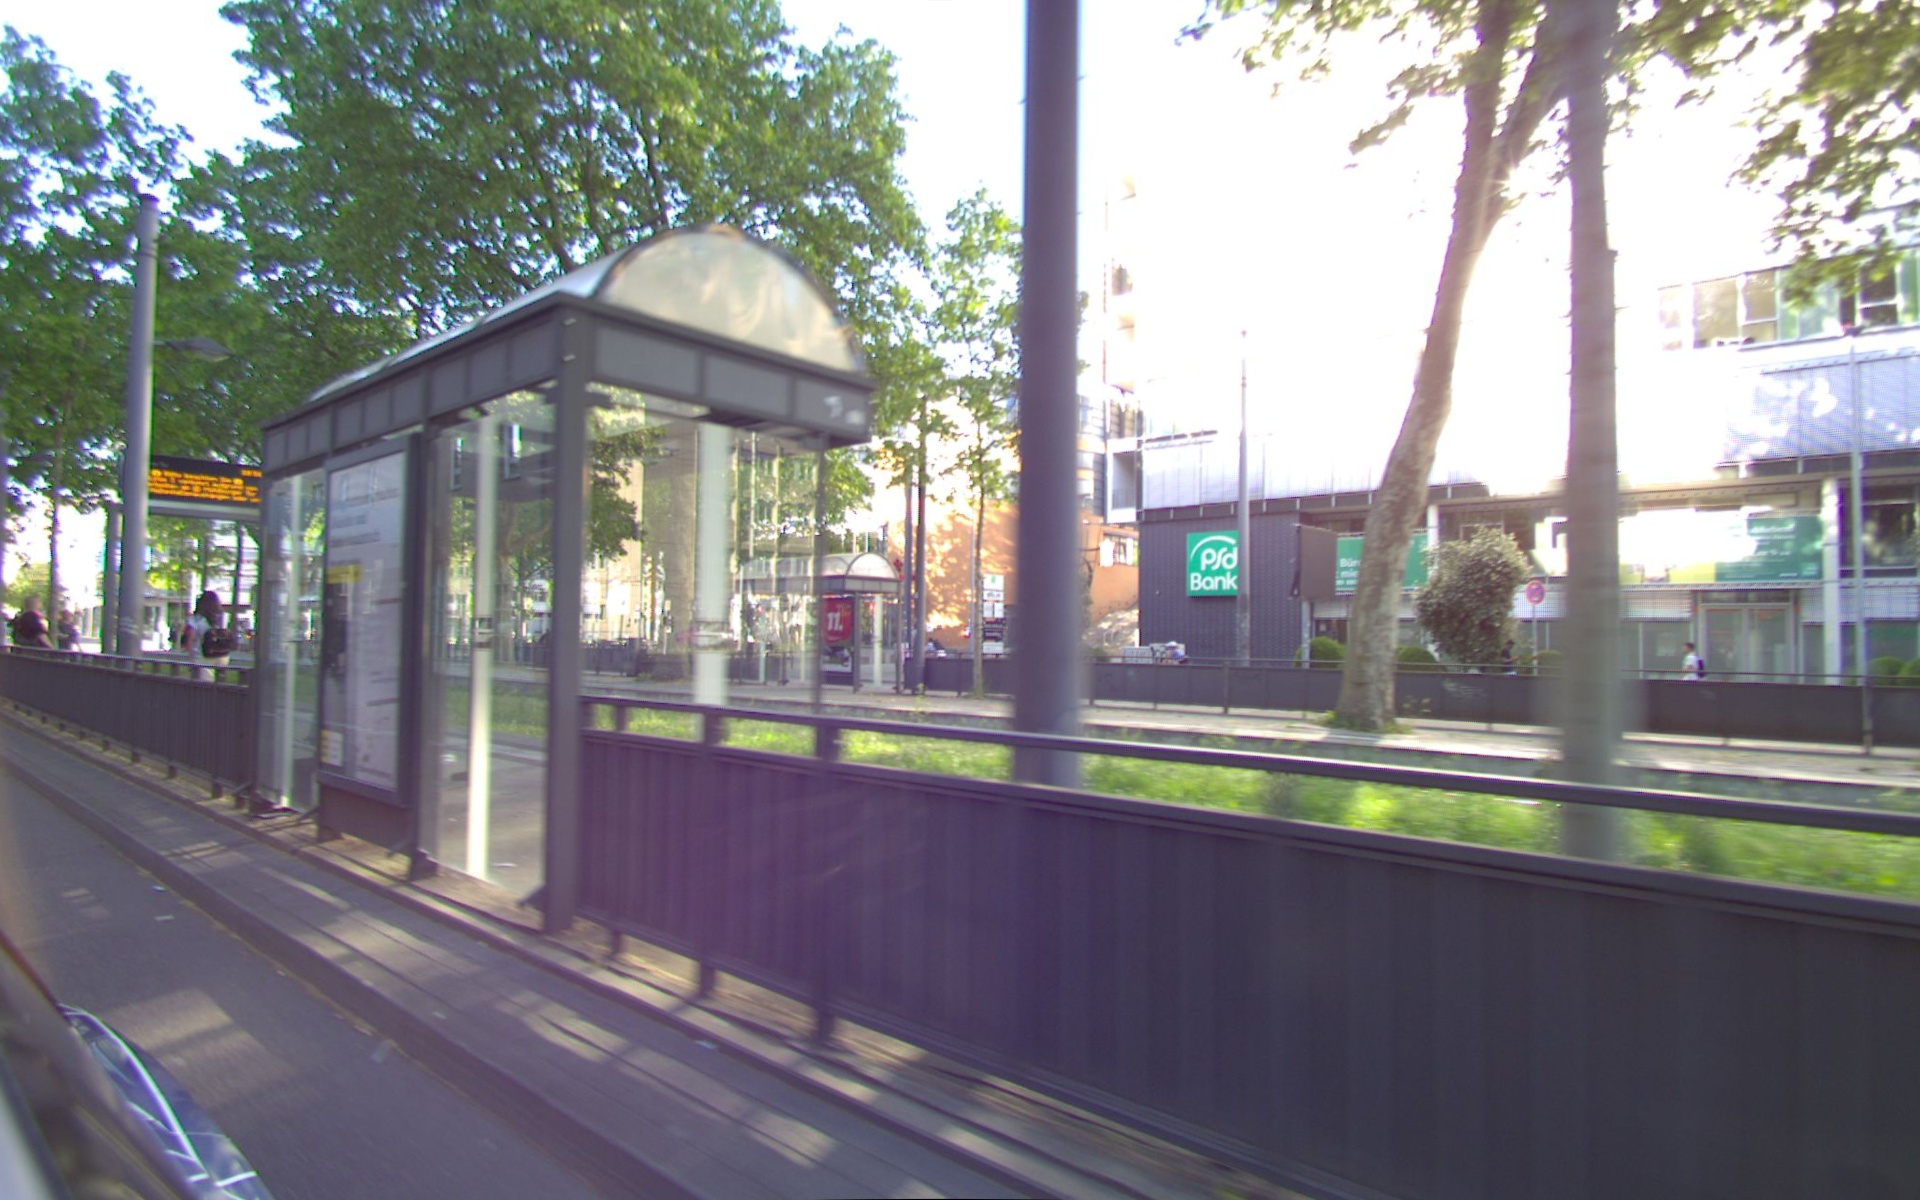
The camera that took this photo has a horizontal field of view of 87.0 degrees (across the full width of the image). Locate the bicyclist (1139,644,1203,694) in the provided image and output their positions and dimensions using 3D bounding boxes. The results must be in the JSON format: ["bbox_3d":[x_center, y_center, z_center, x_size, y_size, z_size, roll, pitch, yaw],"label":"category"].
[{"bbox_3d":[5.590,1.813,26.819,1.372,1.259,0.994,-2,-2,38],"label":"bicyclist"}]

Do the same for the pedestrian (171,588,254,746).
[{"bbox_3d":[-9.274,0.811,12.555,0.753,1.886,0.638,-2,-3,41],"label":"pedestrian"}]

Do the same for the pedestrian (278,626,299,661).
[{"bbox_3d":[-29.696,1.917,44.781,0.549,1.509,0.549,-1,-3,29],"label":"pedestrian"}]

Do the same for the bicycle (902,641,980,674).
[{"bbox_3d":[-0.633,1.809,32.315,2.582,1.004,0.793,-2,-2,38],"label":"bicycle"}]

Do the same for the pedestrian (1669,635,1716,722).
[{"bbox_3d":[17.170,1.818,23.724,0.833,1.991,0.600,-2,-2,38],"label":"pedestrian"}]

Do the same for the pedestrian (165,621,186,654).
[{"bbox_3d":[-42.080,1.998,54.298,0.674,1.767,0.649,-1,-3,32],"label":"pedestrian"}]

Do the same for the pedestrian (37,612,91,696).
[{"bbox_3d":[-18.715,1.117,21.139,0.862,1.715,0.721,-2,-3,42],"label":"pedestrian"}]

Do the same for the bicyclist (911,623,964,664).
[{"bbox_3d":[-0.709,1.383,32.362,1.372,1.259,0.994,-2,-2,38],"label":"bicyclist"}]

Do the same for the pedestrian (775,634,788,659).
[{"bbox_3d":[-11.698,3.065,66.405,0.597,1.616,0.572,-2,-3,39],"label":"pedestrian"}]

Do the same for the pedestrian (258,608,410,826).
[{"bbox_3d":[-4.152,0.735,6.713,0.801,1.329,0.620,-2,-3,41],"label":"pedestrian"}]

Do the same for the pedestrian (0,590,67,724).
[{"bbox_3d":[-13.594,0.825,14.817,0.661,1.901,0.639,-2,-3,40],"label":"pedestrian"}]

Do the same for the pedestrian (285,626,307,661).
[{"bbox_3d":[-29.186,1.907,44.481,0.605,1.497,0.566,-1,-3,29],"label":"pedestrian"}]

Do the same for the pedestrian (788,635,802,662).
[{"bbox_3d":[-9.924,2.911,60.933,0.571,1.616,0.598,2,-3,-45],"label":"pedestrian"}]

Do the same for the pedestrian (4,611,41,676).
[{"bbox_3d":[-27.009,1.245,29.154,0.637,1.853,0.640,-2,-3,40],"label":"pedestrian"}]

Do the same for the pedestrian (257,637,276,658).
[{"bbox_3d":[-35.389,2.431,51.645,0.713,1.048,0.699,2,-3,-42],"label":"pedestrian"}]

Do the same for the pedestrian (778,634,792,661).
[{"bbox_3d":[-10.455,2.832,60.546,0.571,1.616,0.580,2,-3,-45],"label":"pedestrian"}]

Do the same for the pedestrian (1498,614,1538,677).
[{"bbox_3d":[14.642,1.190,26.557,0.767,1.604,0.896,-2,-3,39],"label":"pedestrian"}]

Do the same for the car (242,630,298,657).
[{"bbox_3d":[-43.592,2.756,63.932,3.999,1.652,1.972,-2,-4,42],"label":"car"}]

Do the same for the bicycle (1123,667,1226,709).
[{"bbox_3d":[5.642,2.294,26.752,2.582,1.004,0.793,-2,-2,38],"label":"bicycle"}]

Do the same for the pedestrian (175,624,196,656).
[{"bbox_3d":[-41.355,2.145,54.034,0.697,1.709,0.678,-1,-3,32],"label":"pedestrian"}]

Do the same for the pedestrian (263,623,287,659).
[{"bbox_3d":[-31.442,1.887,46.460,0.666,1.654,0.662,-1,-2,29],"label":"pedestrian"}]
